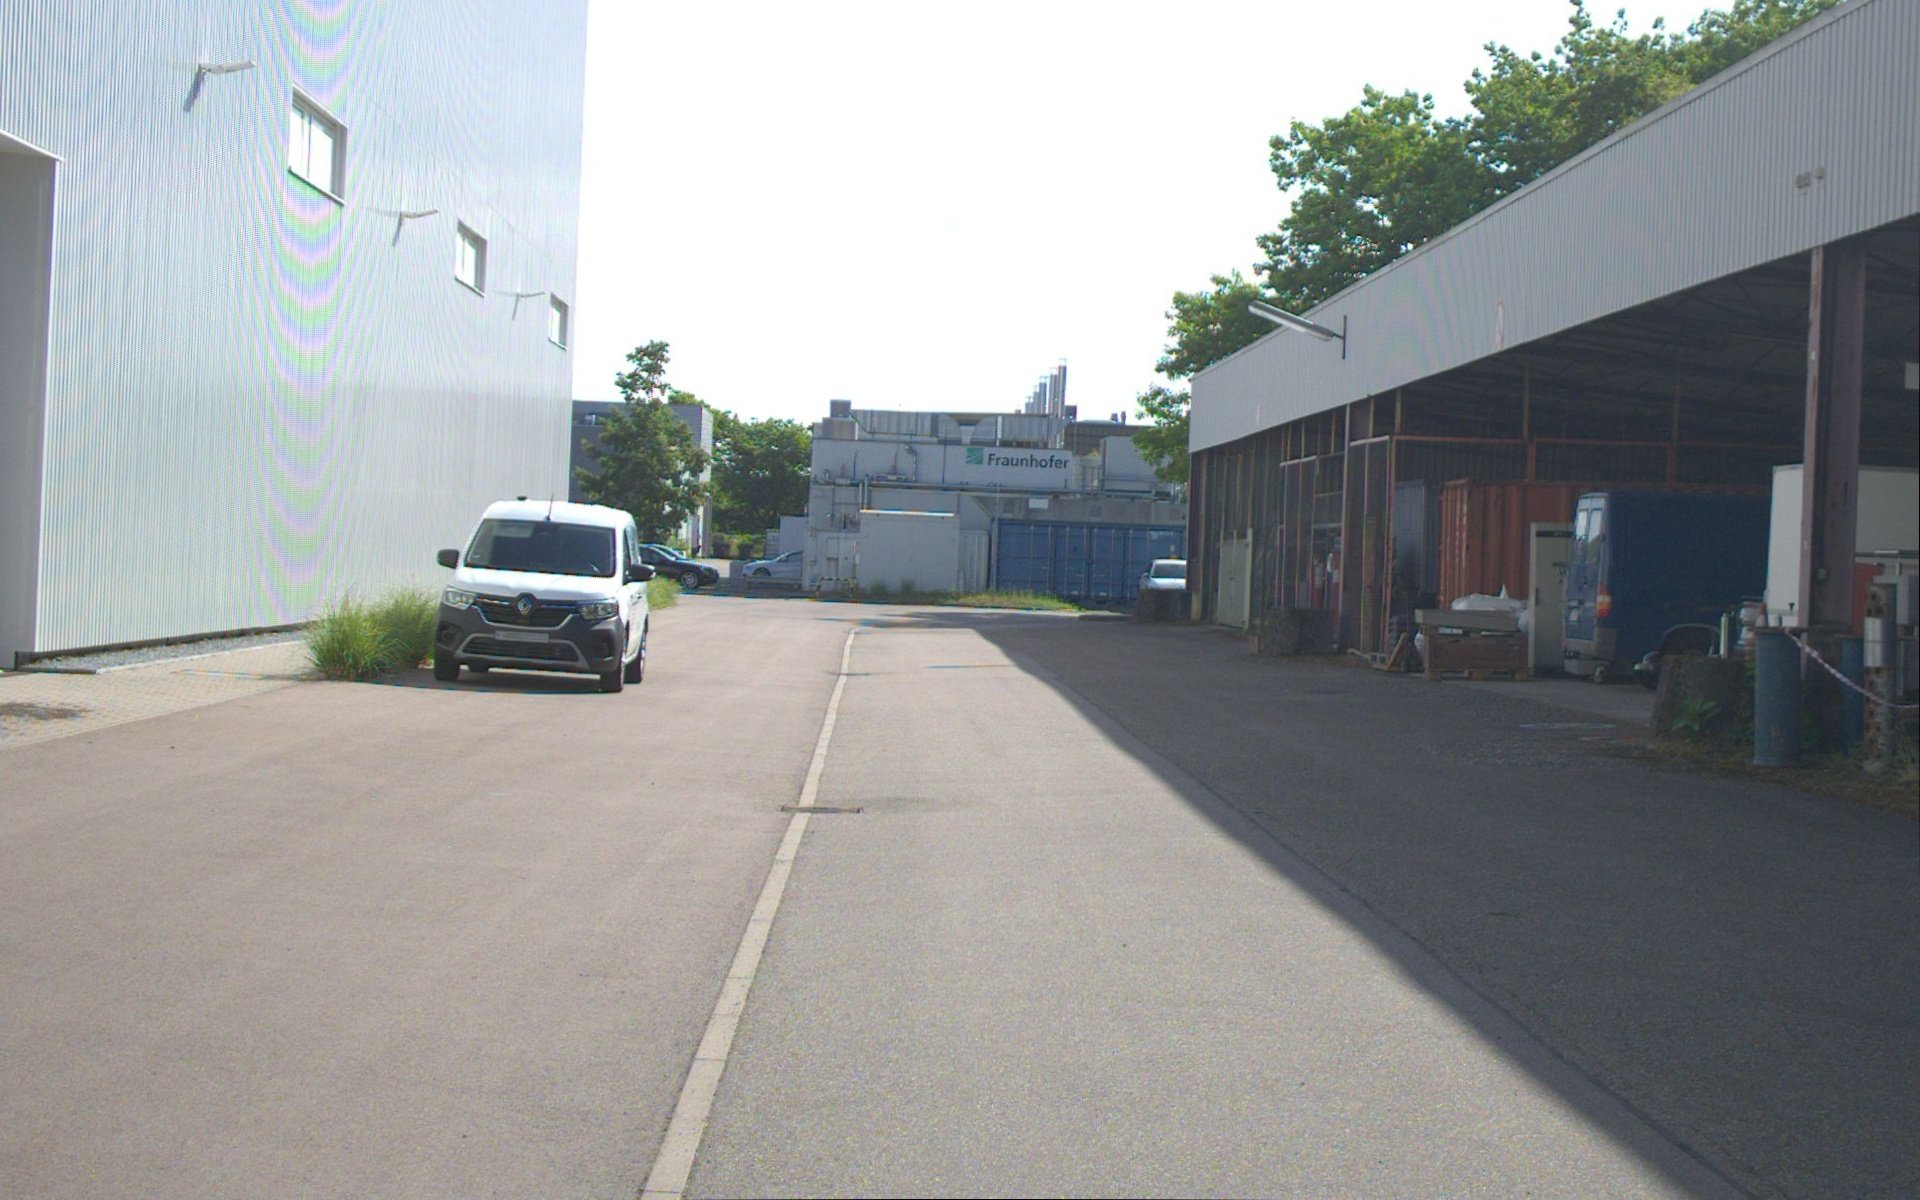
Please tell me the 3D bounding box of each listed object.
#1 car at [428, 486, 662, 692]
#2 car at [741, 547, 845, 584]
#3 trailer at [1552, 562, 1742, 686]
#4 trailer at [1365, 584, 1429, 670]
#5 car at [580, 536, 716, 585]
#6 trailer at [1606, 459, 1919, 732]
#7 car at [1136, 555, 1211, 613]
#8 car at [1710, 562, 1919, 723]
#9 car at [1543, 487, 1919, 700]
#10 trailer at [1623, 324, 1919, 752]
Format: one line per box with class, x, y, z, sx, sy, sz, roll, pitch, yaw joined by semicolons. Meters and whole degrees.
car;-4.062;-0.118;34.329;1.783;1.809;4.602;4;0;-1
car;-6.990;-1.432;144.146;4.302;1.452;1.824;1;0;-2
trailer;8.441;0.275;42.357;2.038;1.461;1.738;1;1;3
trailer;5.772;0.345;45.425;0.551;1.114;1.547;1;0;-3
car;-10.523;-1.337;116.186;4.447;1.526;1.824;1;0;-2
trailer;8.287;-0.024;30.940;4.516;2.334;2.047;1;0;0
car;6.445;-0.504;104.013;1.979;1.597;4.377;1;2;0
car;9.690;0.438;33.525;4.247;1.466;1.870;2;1;-4
car;9.639;-0.051;39.759;5.332;2.273;2.153;2;0;-2
trailer;10.931;-0.436;28.480;10.267;3.331;2.801;1;1;-1
